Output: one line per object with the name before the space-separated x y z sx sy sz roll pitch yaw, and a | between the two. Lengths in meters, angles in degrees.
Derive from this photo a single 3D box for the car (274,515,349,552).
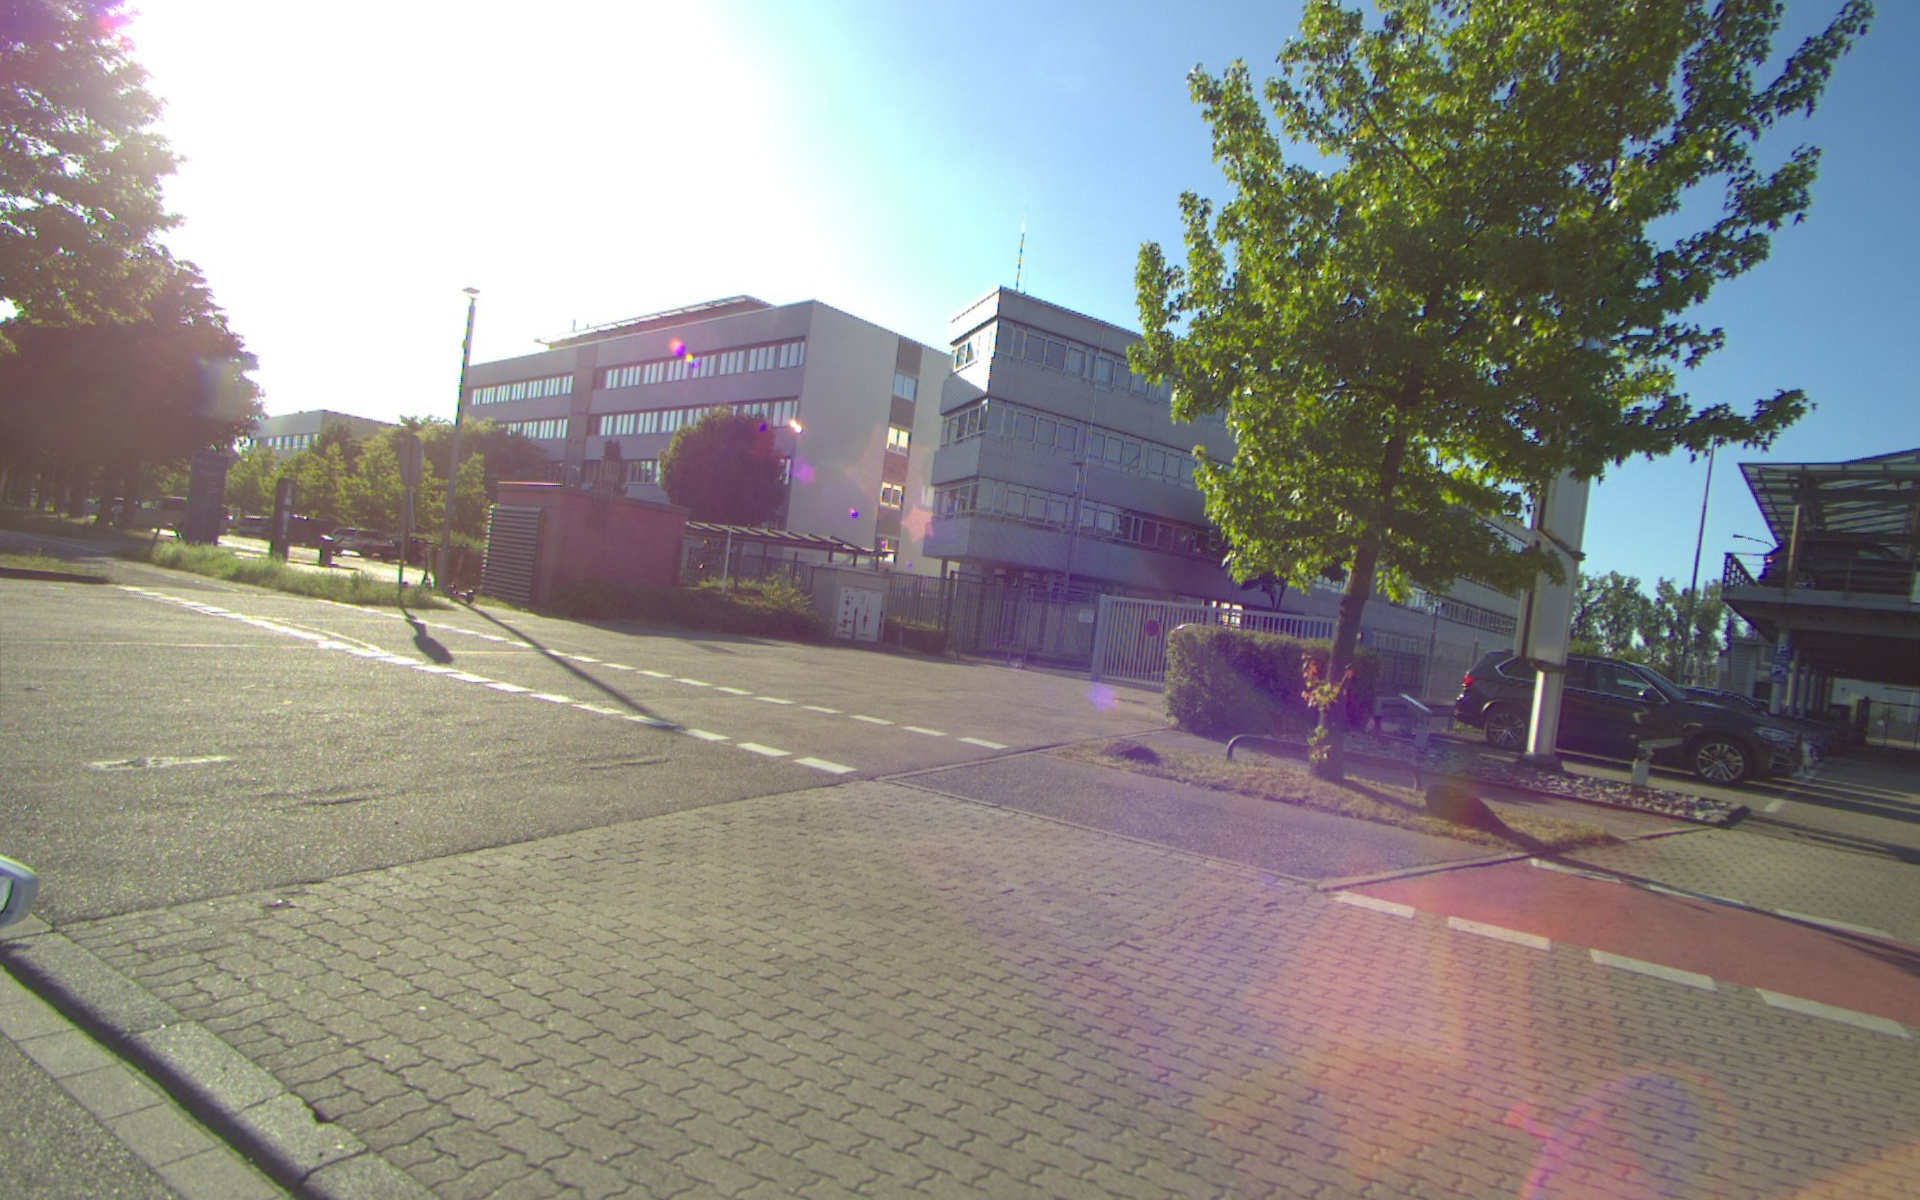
car | -41.103 -4.174 63.873 1.735 1.771 4.494 7 0 -2

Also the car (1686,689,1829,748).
car | 33.451 4.922 42.315 4.494 1.694 2.029 7 0 40

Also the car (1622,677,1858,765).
car | 19.992 3.052 25.913 4.501 1.449 2.026 7 0 45

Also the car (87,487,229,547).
car | -38.125 -3.917 47.940 4.866 1.957 1.999 8 0 -4

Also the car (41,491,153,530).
car | -54.277 -5.619 63.373 4.872 1.593 1.996 7 0 -11

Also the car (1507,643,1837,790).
car | 12.831 2.016 18.333 4.501 1.850 2.026 7 0 45

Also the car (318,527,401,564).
car | -33.949 -3.054 57.021 1.773 1.547 4.314 7 -1 3

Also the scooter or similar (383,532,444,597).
scooter or similar | -12.031 -0.788 22.136 1.365 1.288 0.520 7 1 34

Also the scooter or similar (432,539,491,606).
scooter or similar | -10.700 -0.589 21.579 1.181 1.288 0.520 7 1 34

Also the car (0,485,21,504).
car | -101.388 -11.349 105.138 2.031 1.725 4.428 7 -3 41

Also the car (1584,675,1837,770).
car | 17.804 2.848 24.008 4.501 1.449 2.026 7 0 45

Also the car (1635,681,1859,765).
car | 21.403 3.304 27.486 4.501 1.473 2.026 7 0 45

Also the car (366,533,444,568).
car | -28.884 -2.547 52.534 1.774 1.370 3.999 7 -1 -1

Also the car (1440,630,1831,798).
car | 10.927 1.750 16.563 4.912 1.850 2.026 7 0 45

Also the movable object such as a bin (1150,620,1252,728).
movable object such as a bin | 3.601 1.096 15.065 0.839 1.433 1.030 9 0 -29

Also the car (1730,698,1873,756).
car | 36.256 5.419 43.474 4.494 1.694 2.029 7 0 40

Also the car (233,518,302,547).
car | -49.041 -4.757 71.347 1.735 1.546 4.304 7 0 1

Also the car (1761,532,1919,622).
car | 26.584 -0.680 29.869 4.141 2.125 1.993 7 -2 41
